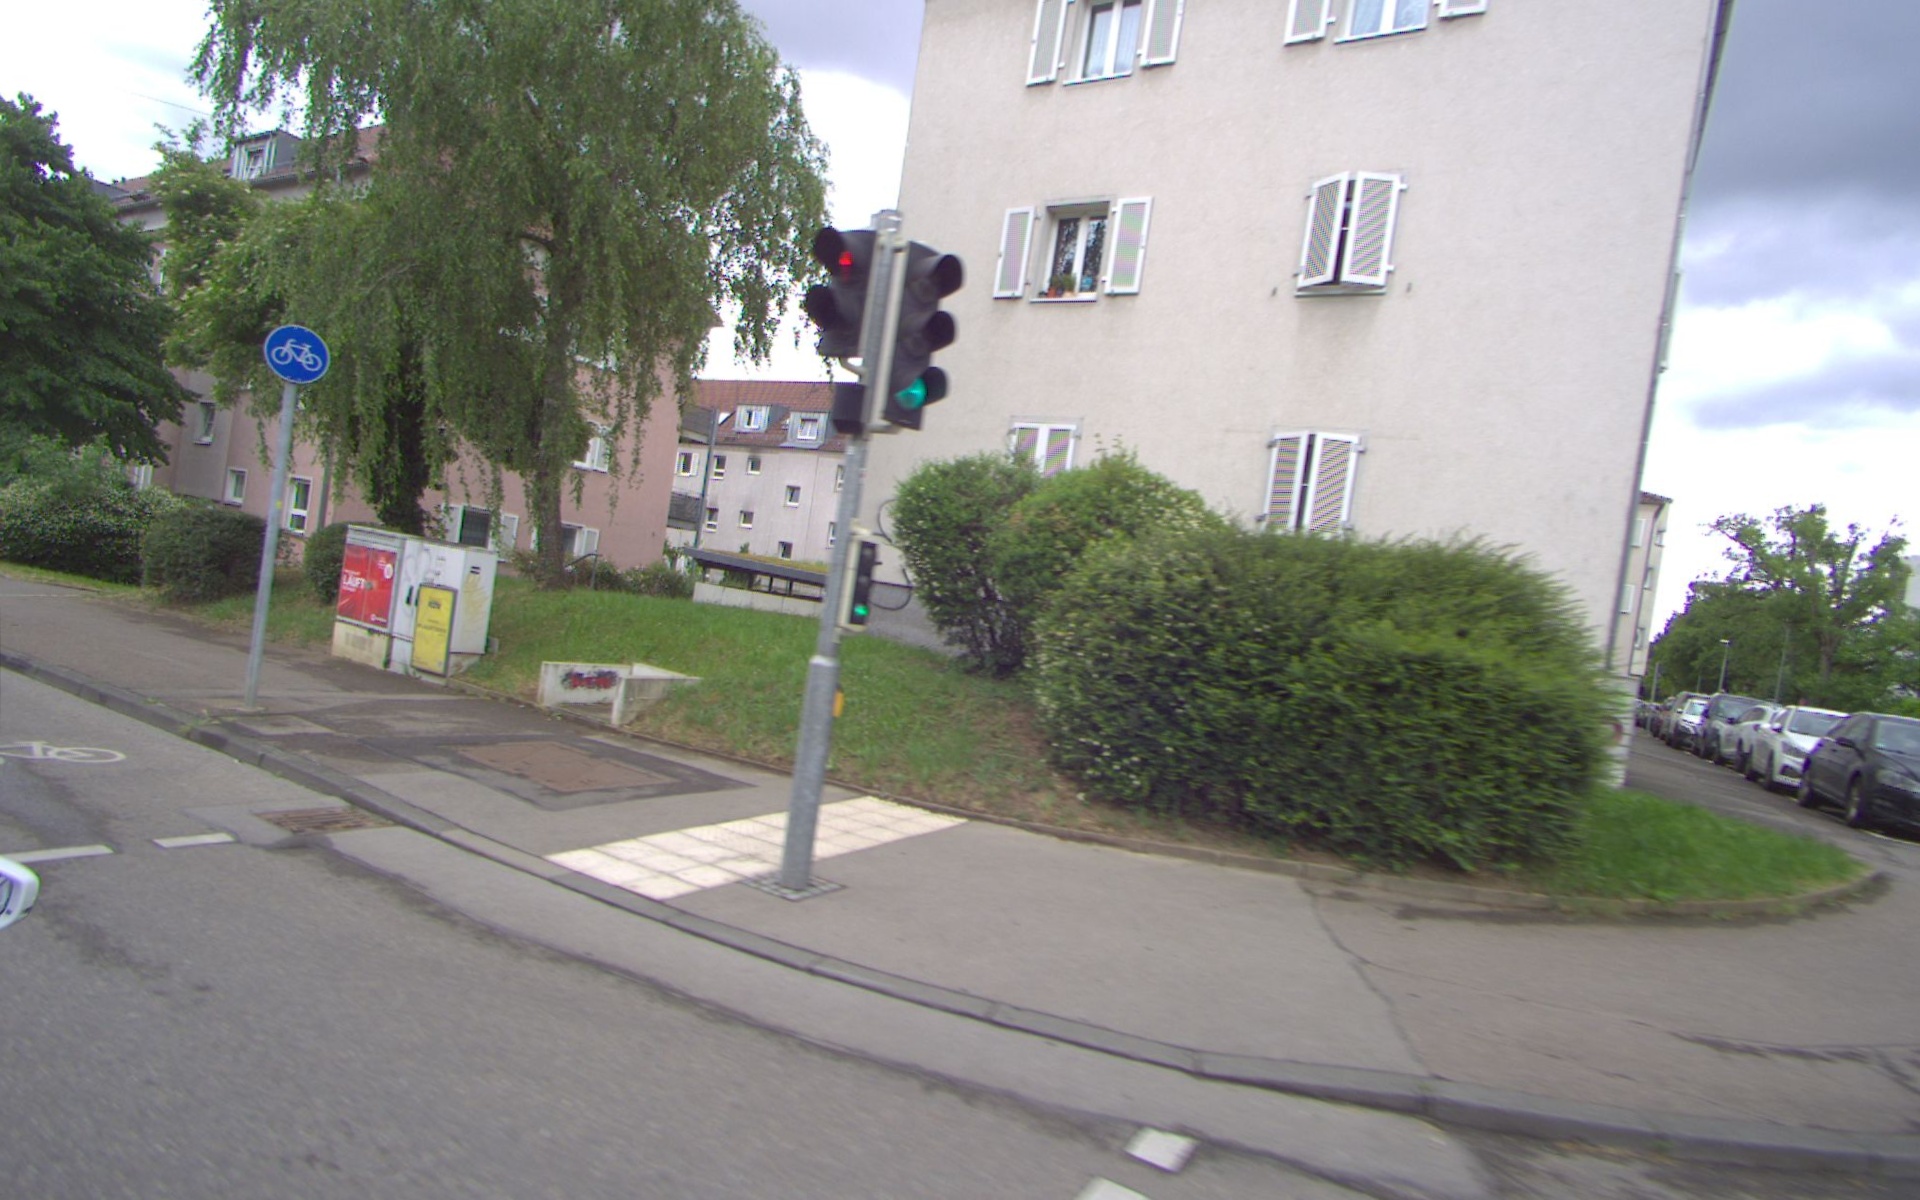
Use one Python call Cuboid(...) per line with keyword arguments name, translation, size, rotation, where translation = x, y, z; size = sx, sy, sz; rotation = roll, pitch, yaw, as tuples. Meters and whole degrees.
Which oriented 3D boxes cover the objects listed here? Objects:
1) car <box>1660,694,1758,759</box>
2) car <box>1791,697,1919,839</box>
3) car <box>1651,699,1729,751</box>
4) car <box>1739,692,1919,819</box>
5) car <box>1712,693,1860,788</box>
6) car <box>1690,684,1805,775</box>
Cuboid(name="car", translation=(22.170, 3.726, 29.911), size=(1.713, 1.478, 3.995), rotation=(10, 0, 31))
Cuboid(name="car", translation=(11.916, 2.150, 12.459), size=(1.695, 1.472, 3.880), rotation=(12, 1, 31))
Cuboid(name="car", translation=(26.337, 4.491, 36.391), size=(1.713, 1.478, 3.995), rotation=(10, 0, 31))
Cuboid(name="car", translation=(14.364, 2.514, 16.738), size=(1.714, 1.539, 3.993), rotation=(10, 0, 34))
Cuboid(name="car", translation=(17.228, 2.907, 21.183), size=(1.713, 1.478, 3.994), rotation=(10, 0, 32))
Cuboid(name="car", translation=(19.757, 3.236, 25.384), size=(1.714, 1.807, 3.993), rotation=(10, 0, 34))
